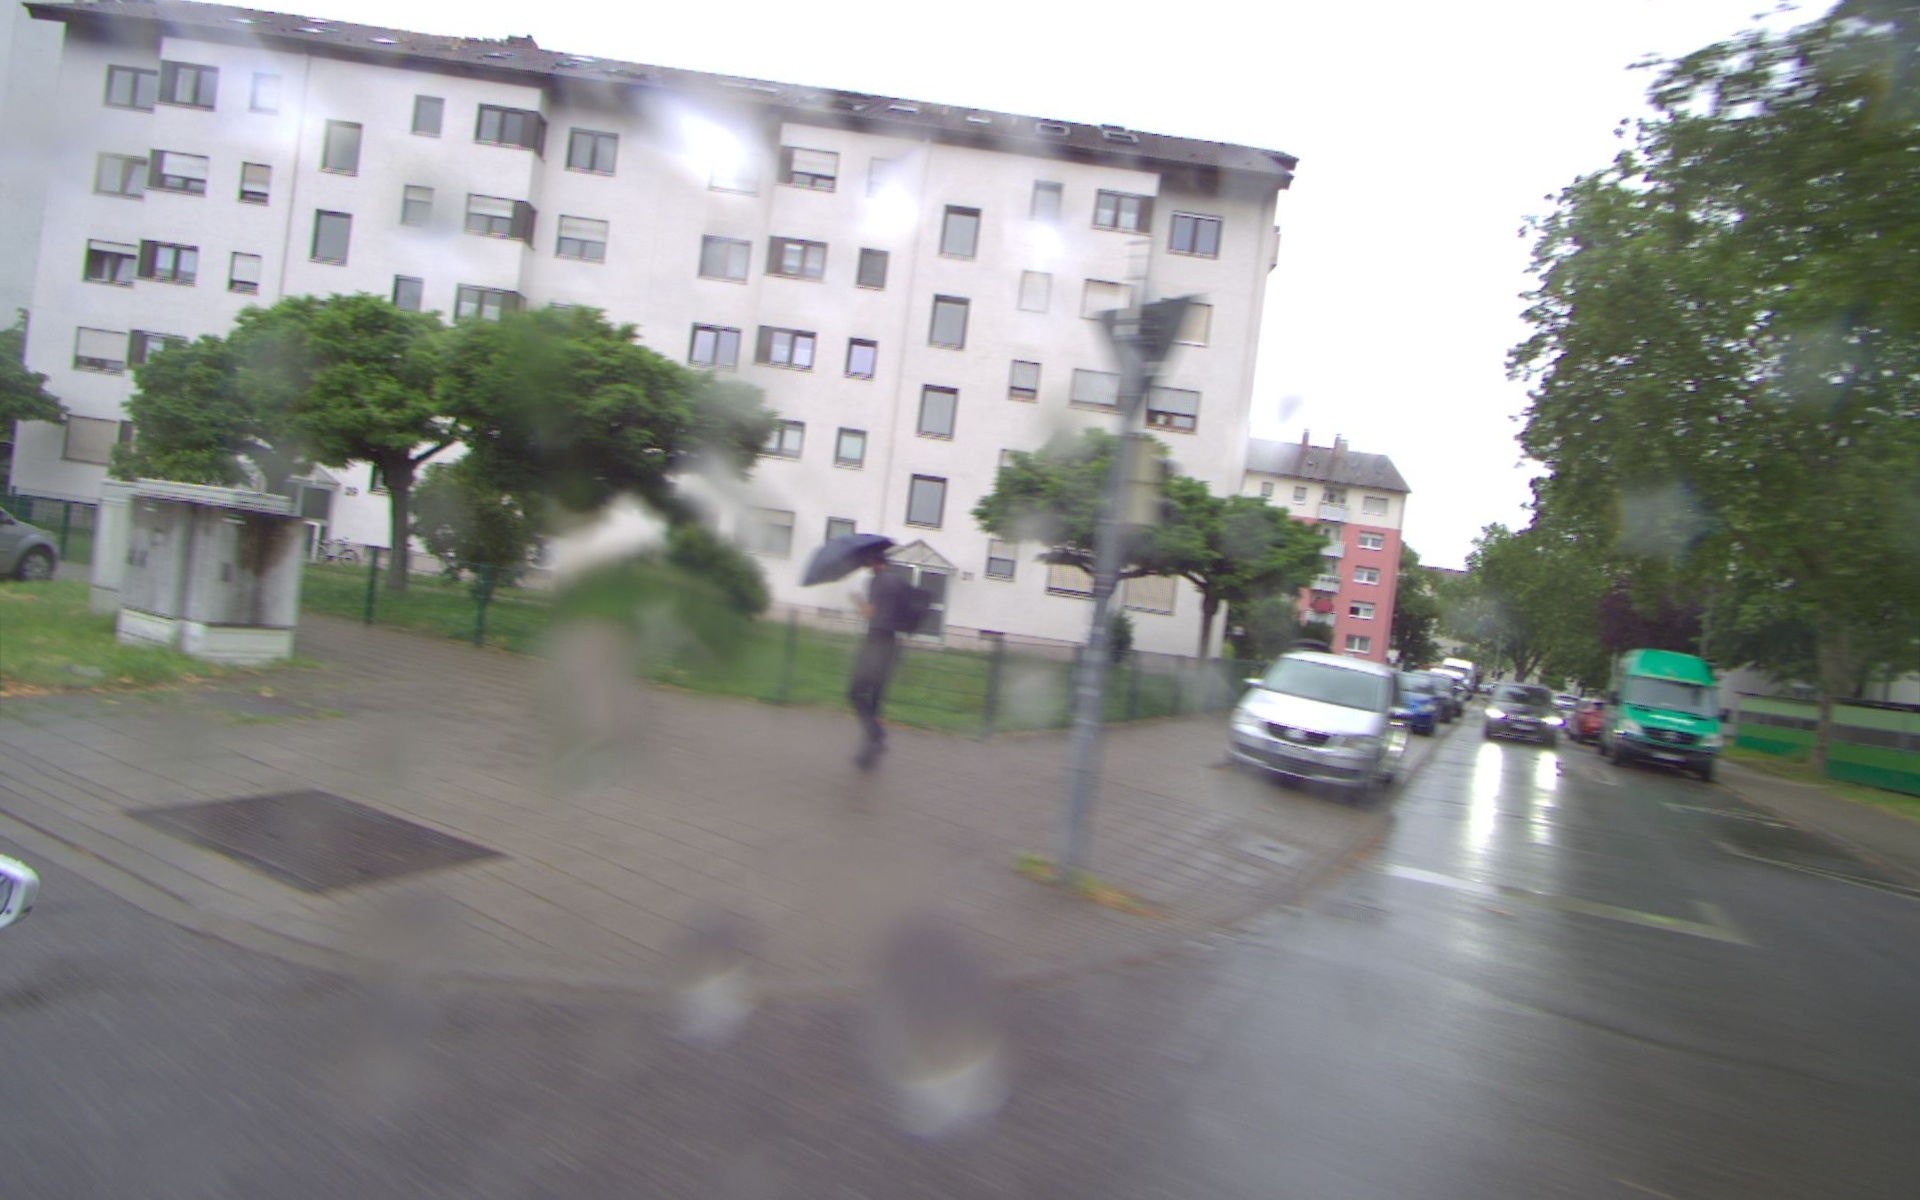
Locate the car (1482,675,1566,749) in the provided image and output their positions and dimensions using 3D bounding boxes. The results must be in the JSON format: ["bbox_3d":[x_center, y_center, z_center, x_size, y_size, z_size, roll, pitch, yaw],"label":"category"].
[{"bbox_3d":[15.823,3.077,28.407,1.745,1.670,3.995,8,0,28],"label":"car"}]

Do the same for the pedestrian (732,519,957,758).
[{"bbox_3d":[-1.019,0.324,8.849,1.412,1.836,1.098,8,1,39],"label":"pedestrian"}]

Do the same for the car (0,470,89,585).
[{"bbox_3d":[-13.571,-1.032,12.792,1.752,1.527,3.994,5,1,-7],"label":"car"}]

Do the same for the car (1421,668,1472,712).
[{"bbox_3d":[20.517,3.720,42.333,1.656,1.524,4.301,7,0,27],"label":"car"}]

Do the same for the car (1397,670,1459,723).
[{"bbox_3d":[16.703,3.383,35.808,1.656,1.524,4.301,7,0,27],"label":"car"}]

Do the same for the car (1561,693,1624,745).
[{"bbox_3d":[23.691,4.404,37.785,1.711,1.524,3.998,7,0,30],"label":"car"}]

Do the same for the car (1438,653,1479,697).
[{"bbox_3d":[33.615,5.012,67.745,2.044,2.614,4.919,7,0,28],"label":"car"}]

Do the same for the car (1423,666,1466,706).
[{"bbox_3d":[24.065,4.240,49.897,1.656,1.676,4.301,7,0,27],"label":"car"}]

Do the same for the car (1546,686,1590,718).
[{"bbox_3d":[33.099,5.523,54.854,1.710,1.409,3.999,7,0,29],"label":"car"}]

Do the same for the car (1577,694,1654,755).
[{"bbox_3d":[21.247,3.974,32.723,1.711,1.524,3.998,7,0,30],"label":"car"}]

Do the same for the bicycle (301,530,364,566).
[{"bbox_3d":[-18.803,-1.554,30.157,1.542,0.858,0.491,7,1,3],"label":"bicycle"}]

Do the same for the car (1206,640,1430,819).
[{"bbox_3d":[4.832,1.551,13.156,1.840,1.701,4.299,7,0,30],"label":"car"}]

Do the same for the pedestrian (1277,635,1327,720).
[{"bbox_3d":[7.679,1.730,22.564,0.708,1.790,1.181,8,1,26],"label":"pedestrian"}]

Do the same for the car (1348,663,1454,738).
[{"bbox_3d":[11.538,2.542,26.183,1.905,1.524,4.299,7,0,30],"label":"car"}]

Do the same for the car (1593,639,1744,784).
[{"bbox_3d":[16.969,2.598,24.436,2.150,2.813,6.128,8,0,31],"label":"car"}]
